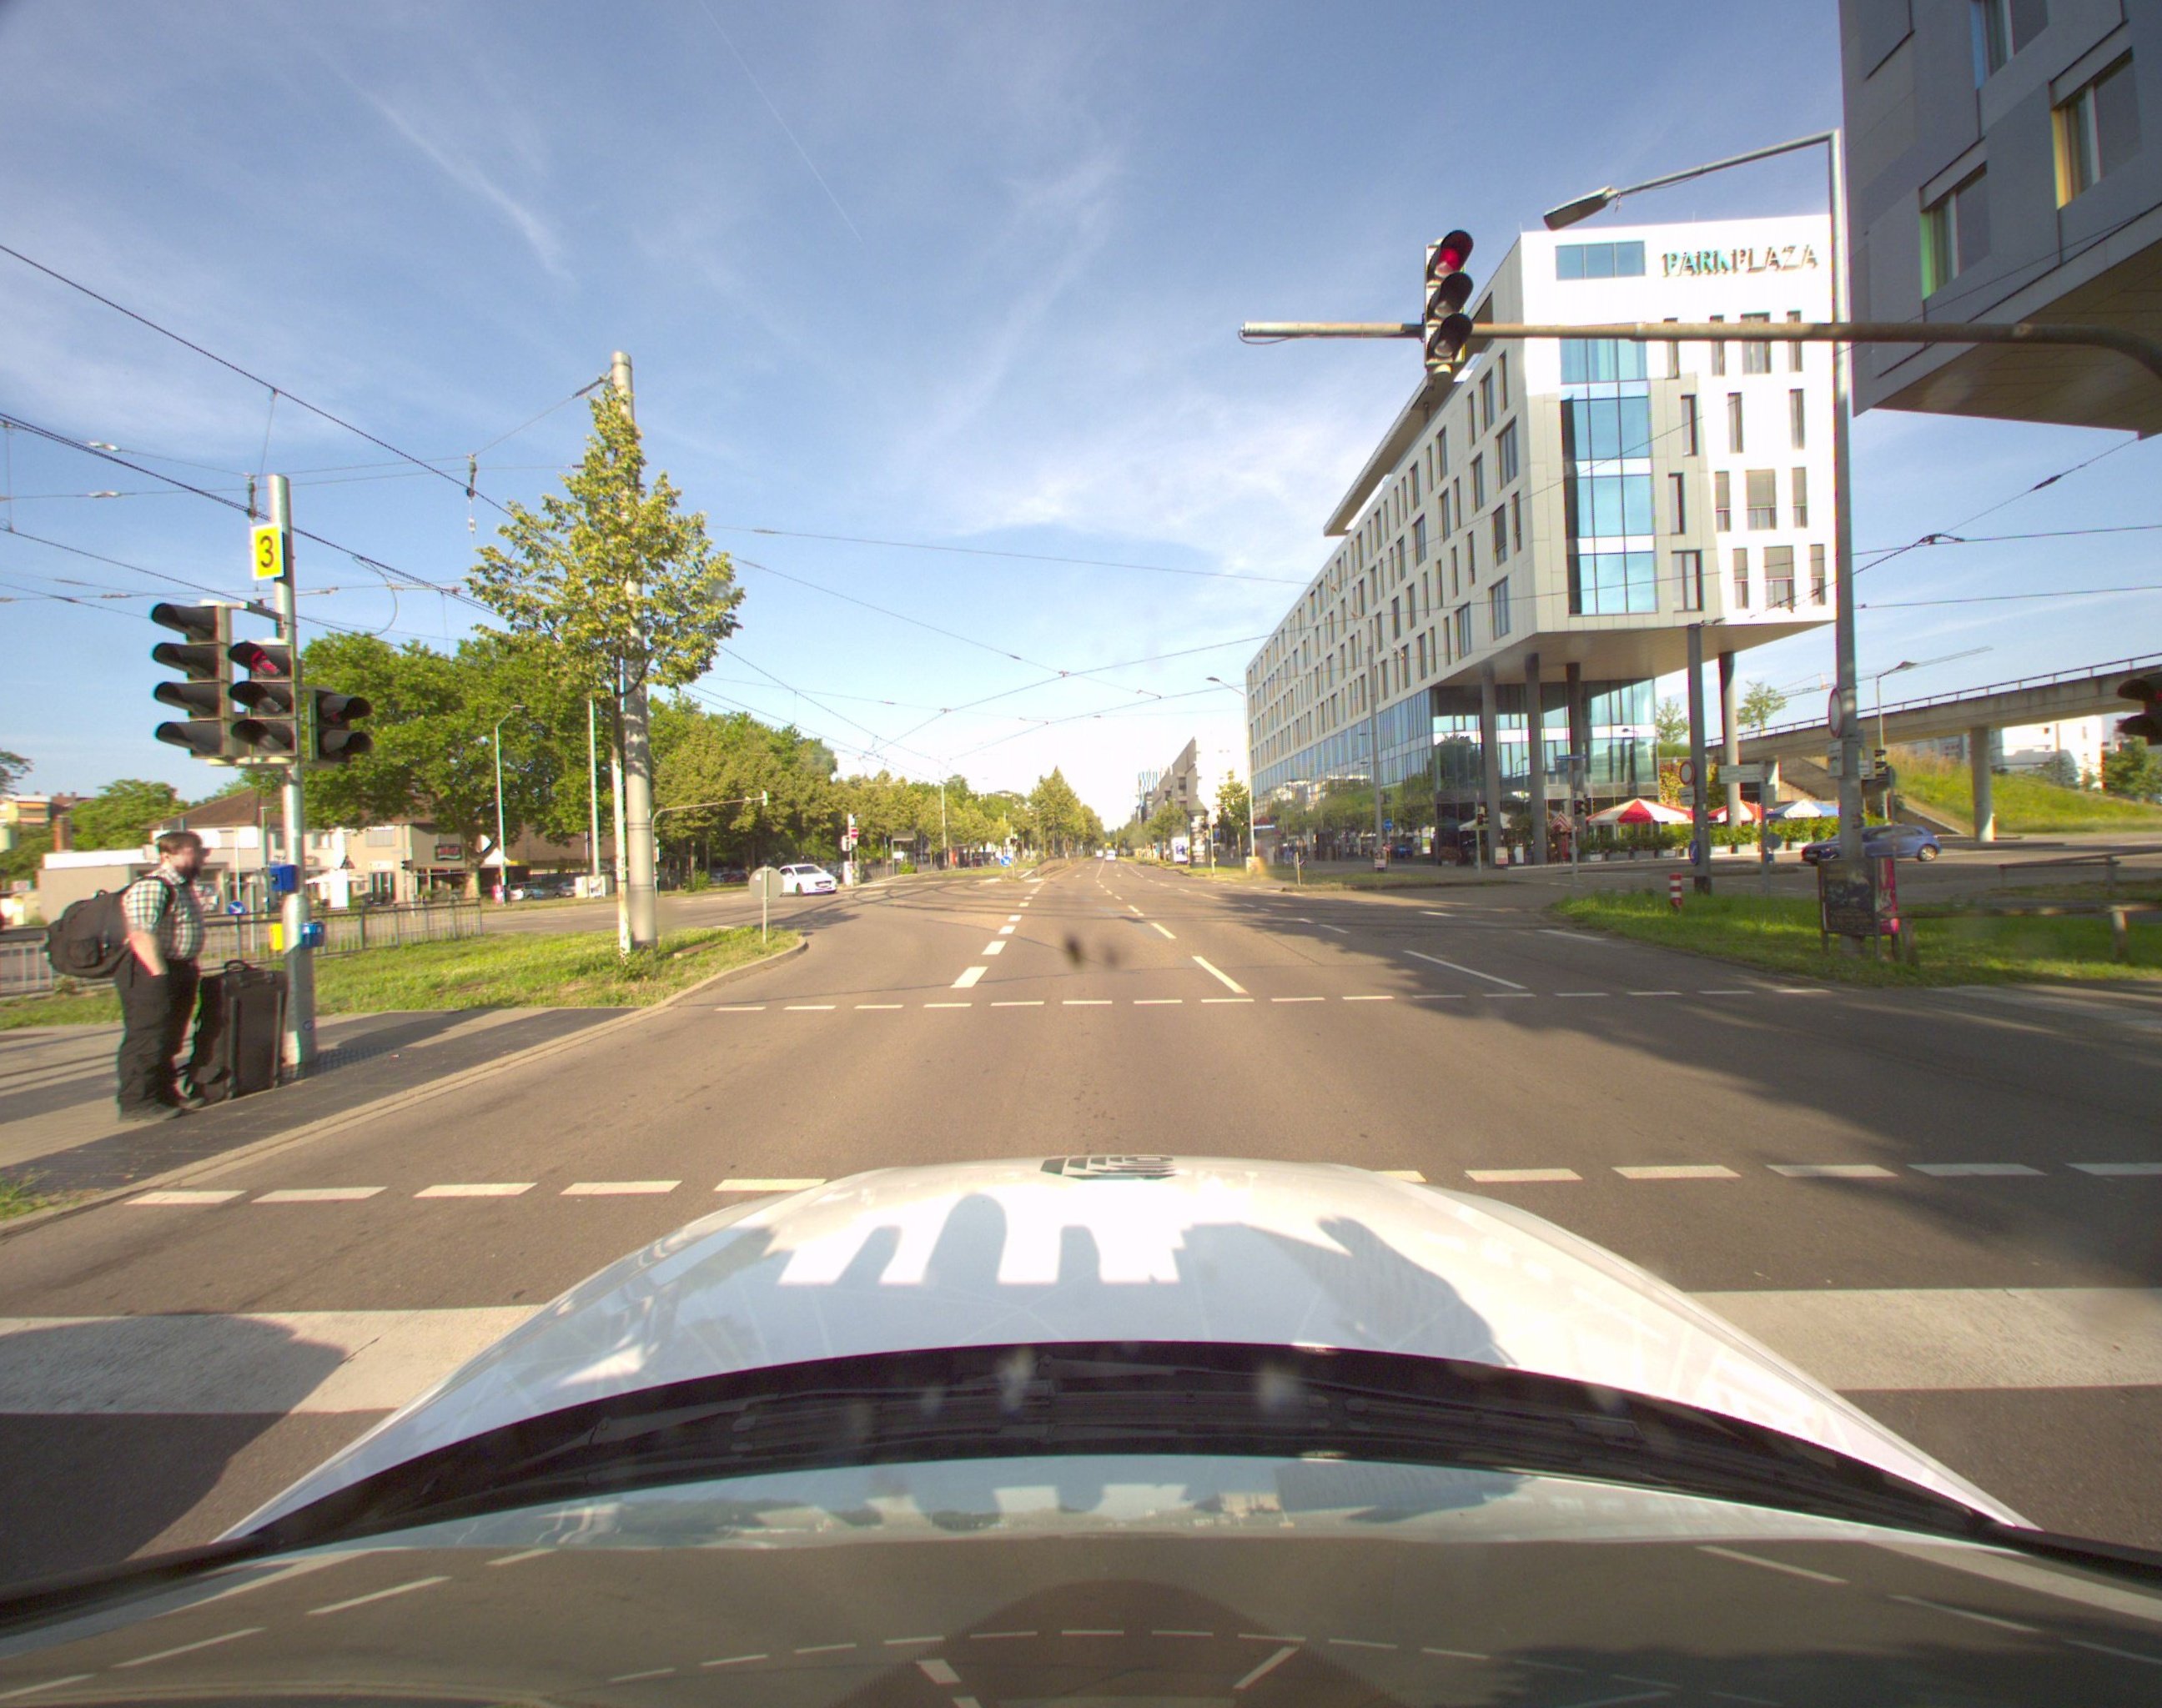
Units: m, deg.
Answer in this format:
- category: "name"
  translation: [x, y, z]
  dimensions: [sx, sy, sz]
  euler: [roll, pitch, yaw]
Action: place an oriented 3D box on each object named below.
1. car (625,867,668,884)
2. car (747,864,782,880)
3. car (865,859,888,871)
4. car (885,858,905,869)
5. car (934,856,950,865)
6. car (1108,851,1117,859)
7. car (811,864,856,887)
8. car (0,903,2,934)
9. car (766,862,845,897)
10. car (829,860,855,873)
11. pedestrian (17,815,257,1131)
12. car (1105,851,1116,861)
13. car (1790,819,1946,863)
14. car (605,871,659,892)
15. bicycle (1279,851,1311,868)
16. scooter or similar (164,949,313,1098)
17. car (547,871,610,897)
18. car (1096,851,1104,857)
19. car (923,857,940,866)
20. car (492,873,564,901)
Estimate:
- category: "car"
  translation: [-43.781, 2.161, 82.153]
  dimensions: [1.871, 1.559, 4.008]
  euler: [-3, 0, 7]
- category: "car"
  translation: [-34.746, 1.973, 89.592]
  dimensions: [1.871, 1.559, 4.008]
  euler: [-3, 0, 7]
- category: "car"
  translation: [-30.666, 1.645, 122.105]
  dimensions: [1.871, 1.559, 4.008]
  euler: [-3, 0, 7]
- category: "car"
  translation: [-29.701, 1.552, 130.010]
  dimensions: [1.871, 1.559, 4.008]
  euler: [-3, 0, 7]
- category: "car"
  translation: [-26.789, 1.220, 156.808]
  dimensions: [1.871, 1.559, 4.008]
  euler: [-3, 0, 7]
- category: "car"
  translation: [6.821, 0.133, 177.213]
  dimensions: [1.857, 1.684, 4.003]
  euler: [0, 1, 2]
- category: "car"
  translation: [-17.291, 1.498, 57.092]
  dimensions: [1.724, 1.462, 4.572]
  euler: [-3, -2, -1]
- category: "car"
  translation: [-63.529, 3.766, 45.634]
  dimensions: [3.964, 1.728, 2.005]
  euler: [-2, 0, 8]
- category: "car"
  translation: [-13.015, 1.159, 38.382]
  dimensions: [2.011, 1.504, 4.043]
  euler: [0, 0, -43]
- category: "car"
  translation: [-32.099, 1.698, 109.649]
  dimensions: [1.871, 1.559, 4.008]
  euler: [-3, 0, 7]
- category: "pedestrian"
  translation: [-5.698, 0.678, 4.953]
  dimensions: [0.697, 1.792, 0.636]
  euler: [-1, 0, 2]
- category: "car"
  translation: [5.267, 0.380, 143.395]
  dimensions: [1.857, 1.684, 4.003]
  euler: [0, 1, 2]
- category: "car"
  translation: [30.233, -0.500, 31.369]
  dimensions: [4.170, 1.424, 1.859]
  euler: [-3, 0, 1]
- category: "car"
  translation: [-37.021, 2.226, 67.236]
  dimensions: [1.871, 1.559, 4.008]
  euler: [-3, 0, 7]
- category: "bicycle"
  translation: [13.879, 0.350, 52.806]
  dimensions: [0.778, 1.032, 1.856]
  euler: [-2, 2, -42]
- category: "scooter or similar"
  translation: [-5.664, 1.124, 5.492]
  dimensions: [0.546, 0.907, 0.430]
  euler: [-1, 0, 2]
- category: "car"
  translation: [-37.710, 2.200, 61.194]
  dimensions: [1.871, 1.750, 4.008]
  euler: [-3, 0, 7]
- category: "car"
  translation: [5.108, 0.009, 213.917]
  dimensions: [2.007, 1.684, 4.003]
  euler: [0, 1, 2]
- category: "car"
  translation: [-27.541, 1.293, 150.397]
  dimensions: [1.871, 1.559, 4.008]
  euler: [-3, 0, 7]
- category: "car"
  translation: [-38.228, 2.253, 56.443]
  dimensions: [1.871, 1.750, 4.008]
  euler: [-3, 0, 7]
